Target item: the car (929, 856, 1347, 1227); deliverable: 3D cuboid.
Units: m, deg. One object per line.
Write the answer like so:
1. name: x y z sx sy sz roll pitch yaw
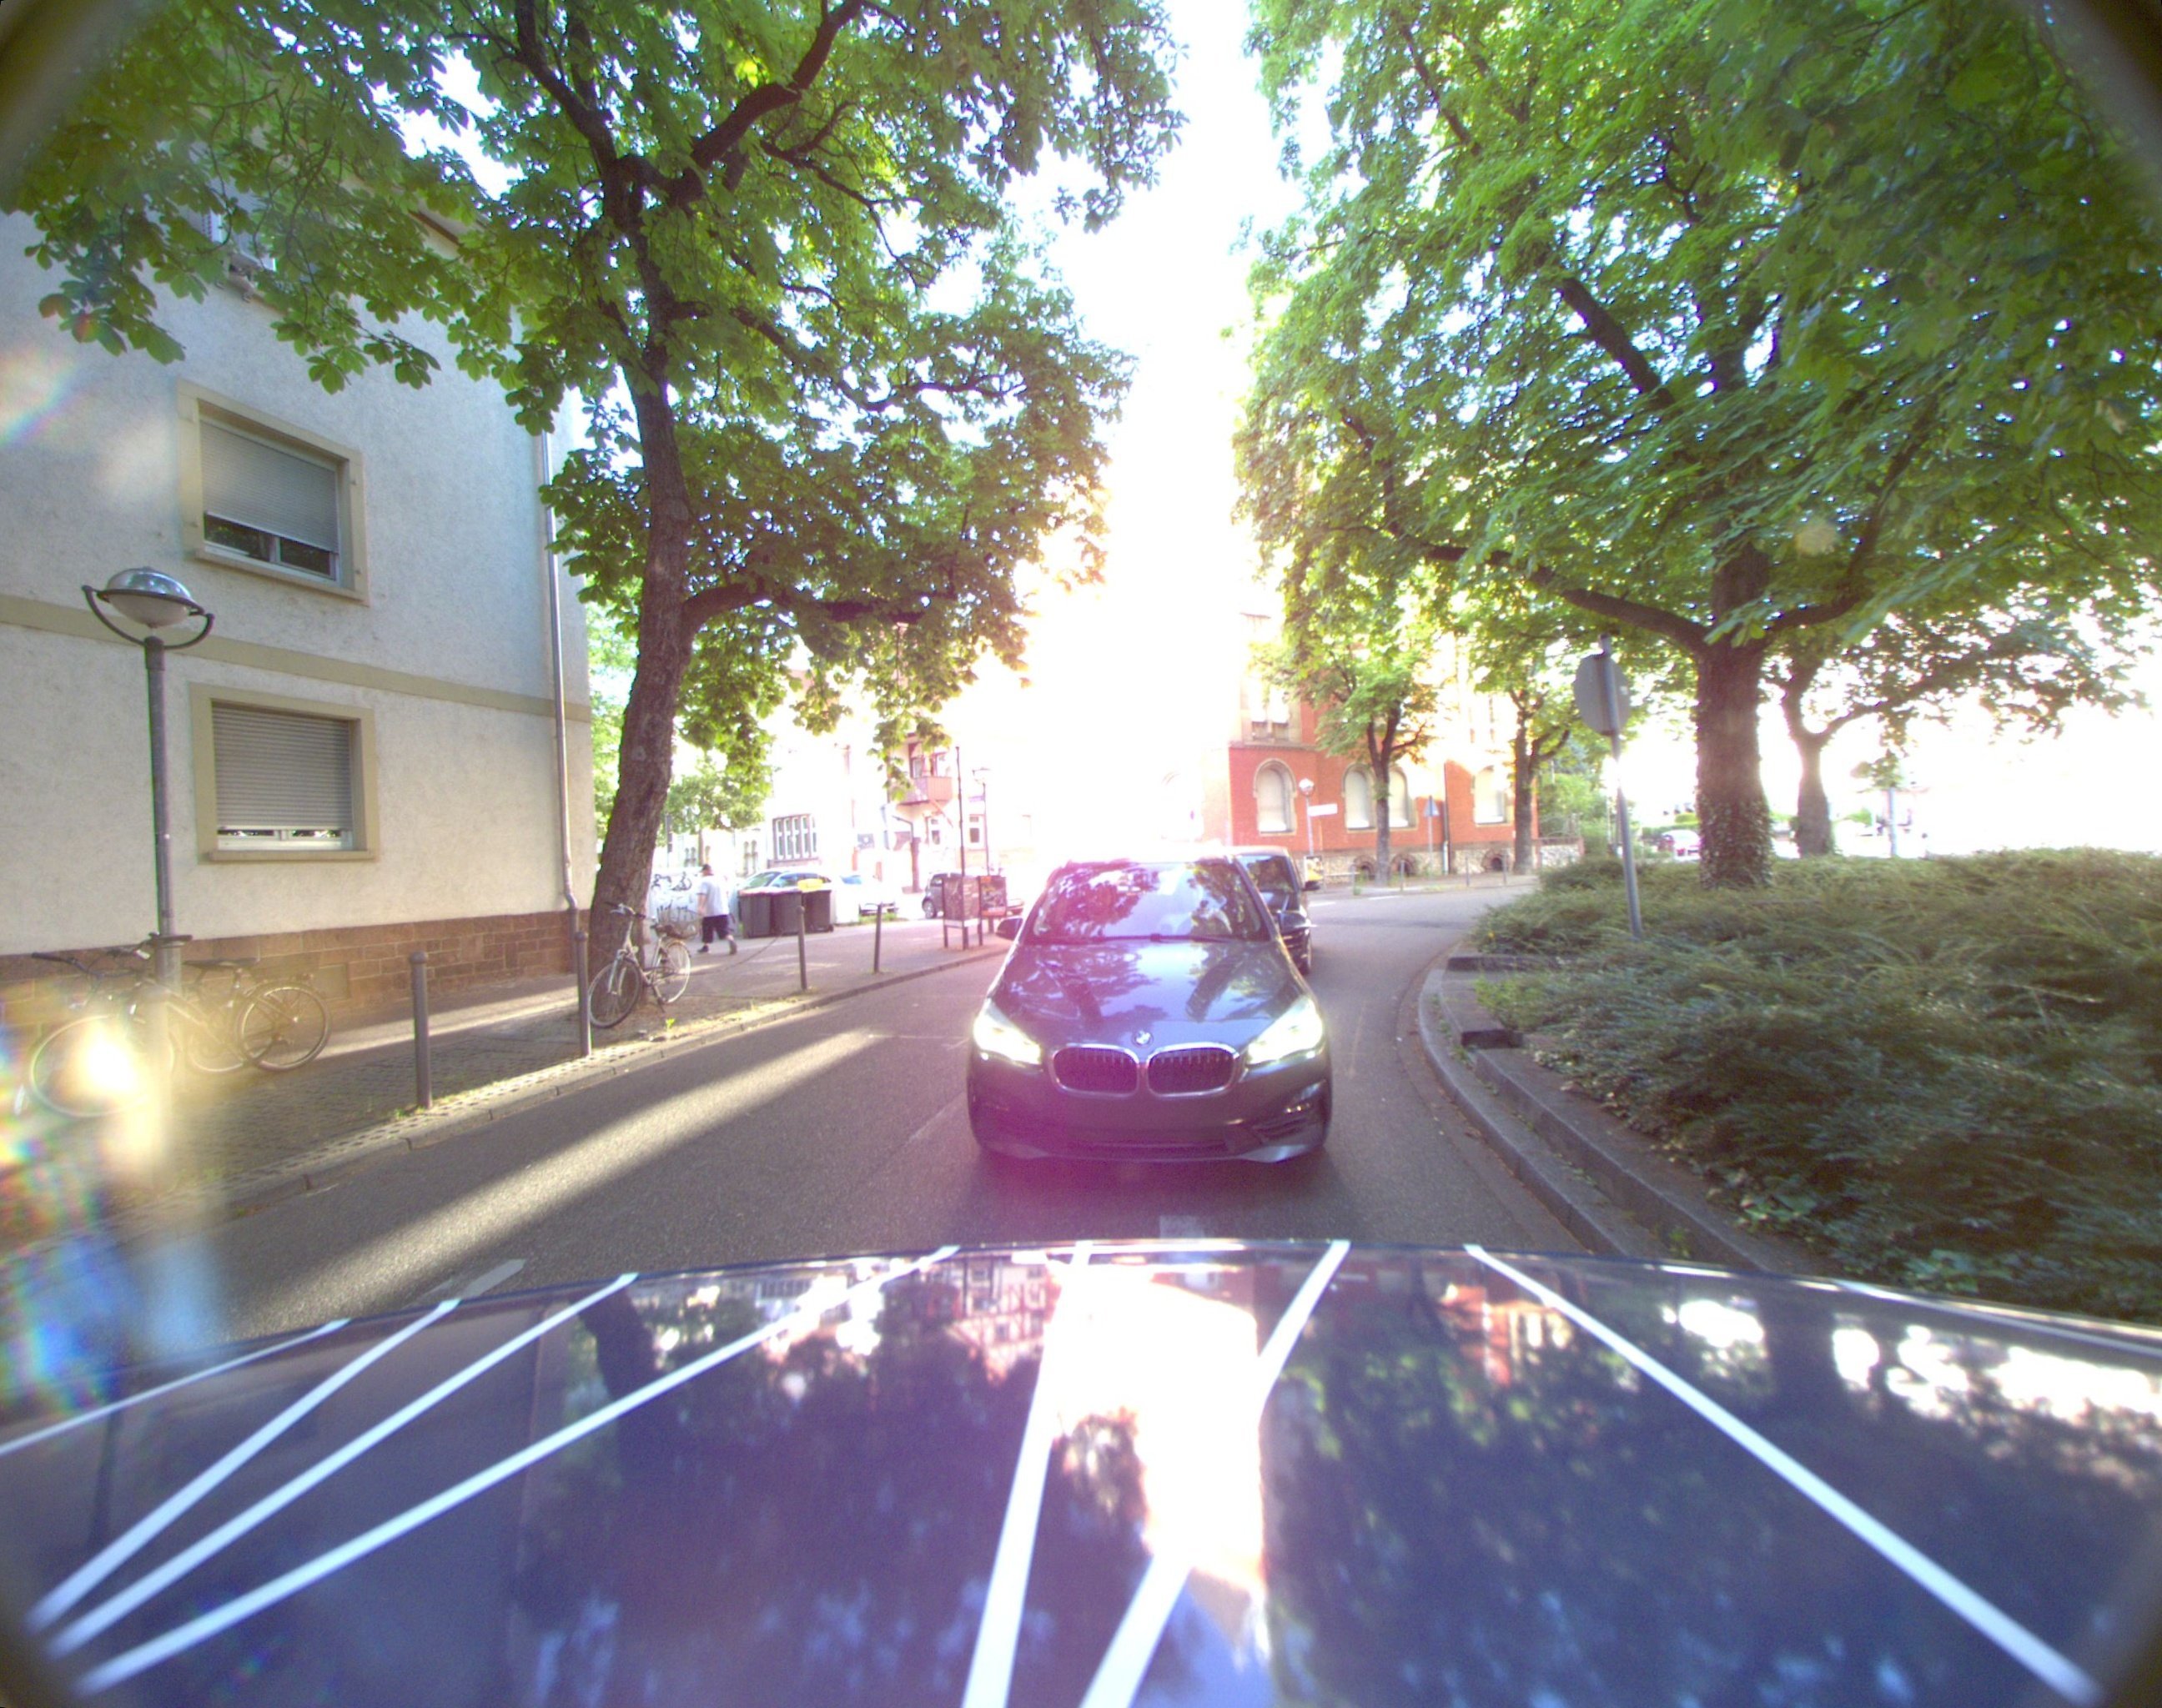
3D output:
1. car: 0.461 0.851 5.485 1.792 1.569 4.262 -2 0 6

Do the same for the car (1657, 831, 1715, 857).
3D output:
1. car: 38.033 -0.663 47.868 1.733 1.409 4.004 -3 2 21

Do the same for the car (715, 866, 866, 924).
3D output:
1. car: -8.493 1.167 22.522 1.672 1.417 3.811 -3 0 36

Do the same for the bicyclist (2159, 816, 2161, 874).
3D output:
1. bicyclist: 29.289 -0.249 20.120 0.597 1.564 0.556 -3 0 20

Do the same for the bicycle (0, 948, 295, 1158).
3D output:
1. bicycle: -6.725 1.326 5.473 0.334 1.087 1.636 -3 0 1

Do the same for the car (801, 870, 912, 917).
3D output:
1. car: -8.392 1.464 28.226 4.175 1.543 1.809 -3 -1 39

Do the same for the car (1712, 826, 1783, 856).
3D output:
1. car: 35.129 -0.684 40.137 1.733 1.409 4.006 -3 0 25

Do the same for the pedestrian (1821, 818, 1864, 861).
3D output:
1. pedestrian: 30.045 -0.563 29.990 0.905 1.625 0.725 -5 0 -13

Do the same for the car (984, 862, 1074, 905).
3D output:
1. car: -2.006 1.119 29.054 3.207 1.530 1.495 -2 0 38

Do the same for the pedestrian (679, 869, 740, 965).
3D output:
1. pedestrian: -6.491 1.074 13.266 0.942 1.583 0.644 -1 1 44

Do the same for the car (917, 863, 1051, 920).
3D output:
1. car: -3.035 1.166 23.451 4.041 1.543 1.700 -3 -1 39

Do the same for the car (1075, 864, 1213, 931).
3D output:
1. car: 1.399 0.986 18.094 1.475 1.381 3.394 -3 0 -32

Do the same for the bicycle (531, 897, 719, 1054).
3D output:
1. bicycle: -4.603 1.160 7.861 0.767 1.297 1.903 -3 0 -1

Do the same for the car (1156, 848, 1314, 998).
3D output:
1. car: 2.255 0.795 10.355 1.677 1.619 3.692 -3 0 17

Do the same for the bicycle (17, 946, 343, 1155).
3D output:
1. bicycle: -6.368 1.314 5.520 0.334 1.087 1.636 -3 0 1
